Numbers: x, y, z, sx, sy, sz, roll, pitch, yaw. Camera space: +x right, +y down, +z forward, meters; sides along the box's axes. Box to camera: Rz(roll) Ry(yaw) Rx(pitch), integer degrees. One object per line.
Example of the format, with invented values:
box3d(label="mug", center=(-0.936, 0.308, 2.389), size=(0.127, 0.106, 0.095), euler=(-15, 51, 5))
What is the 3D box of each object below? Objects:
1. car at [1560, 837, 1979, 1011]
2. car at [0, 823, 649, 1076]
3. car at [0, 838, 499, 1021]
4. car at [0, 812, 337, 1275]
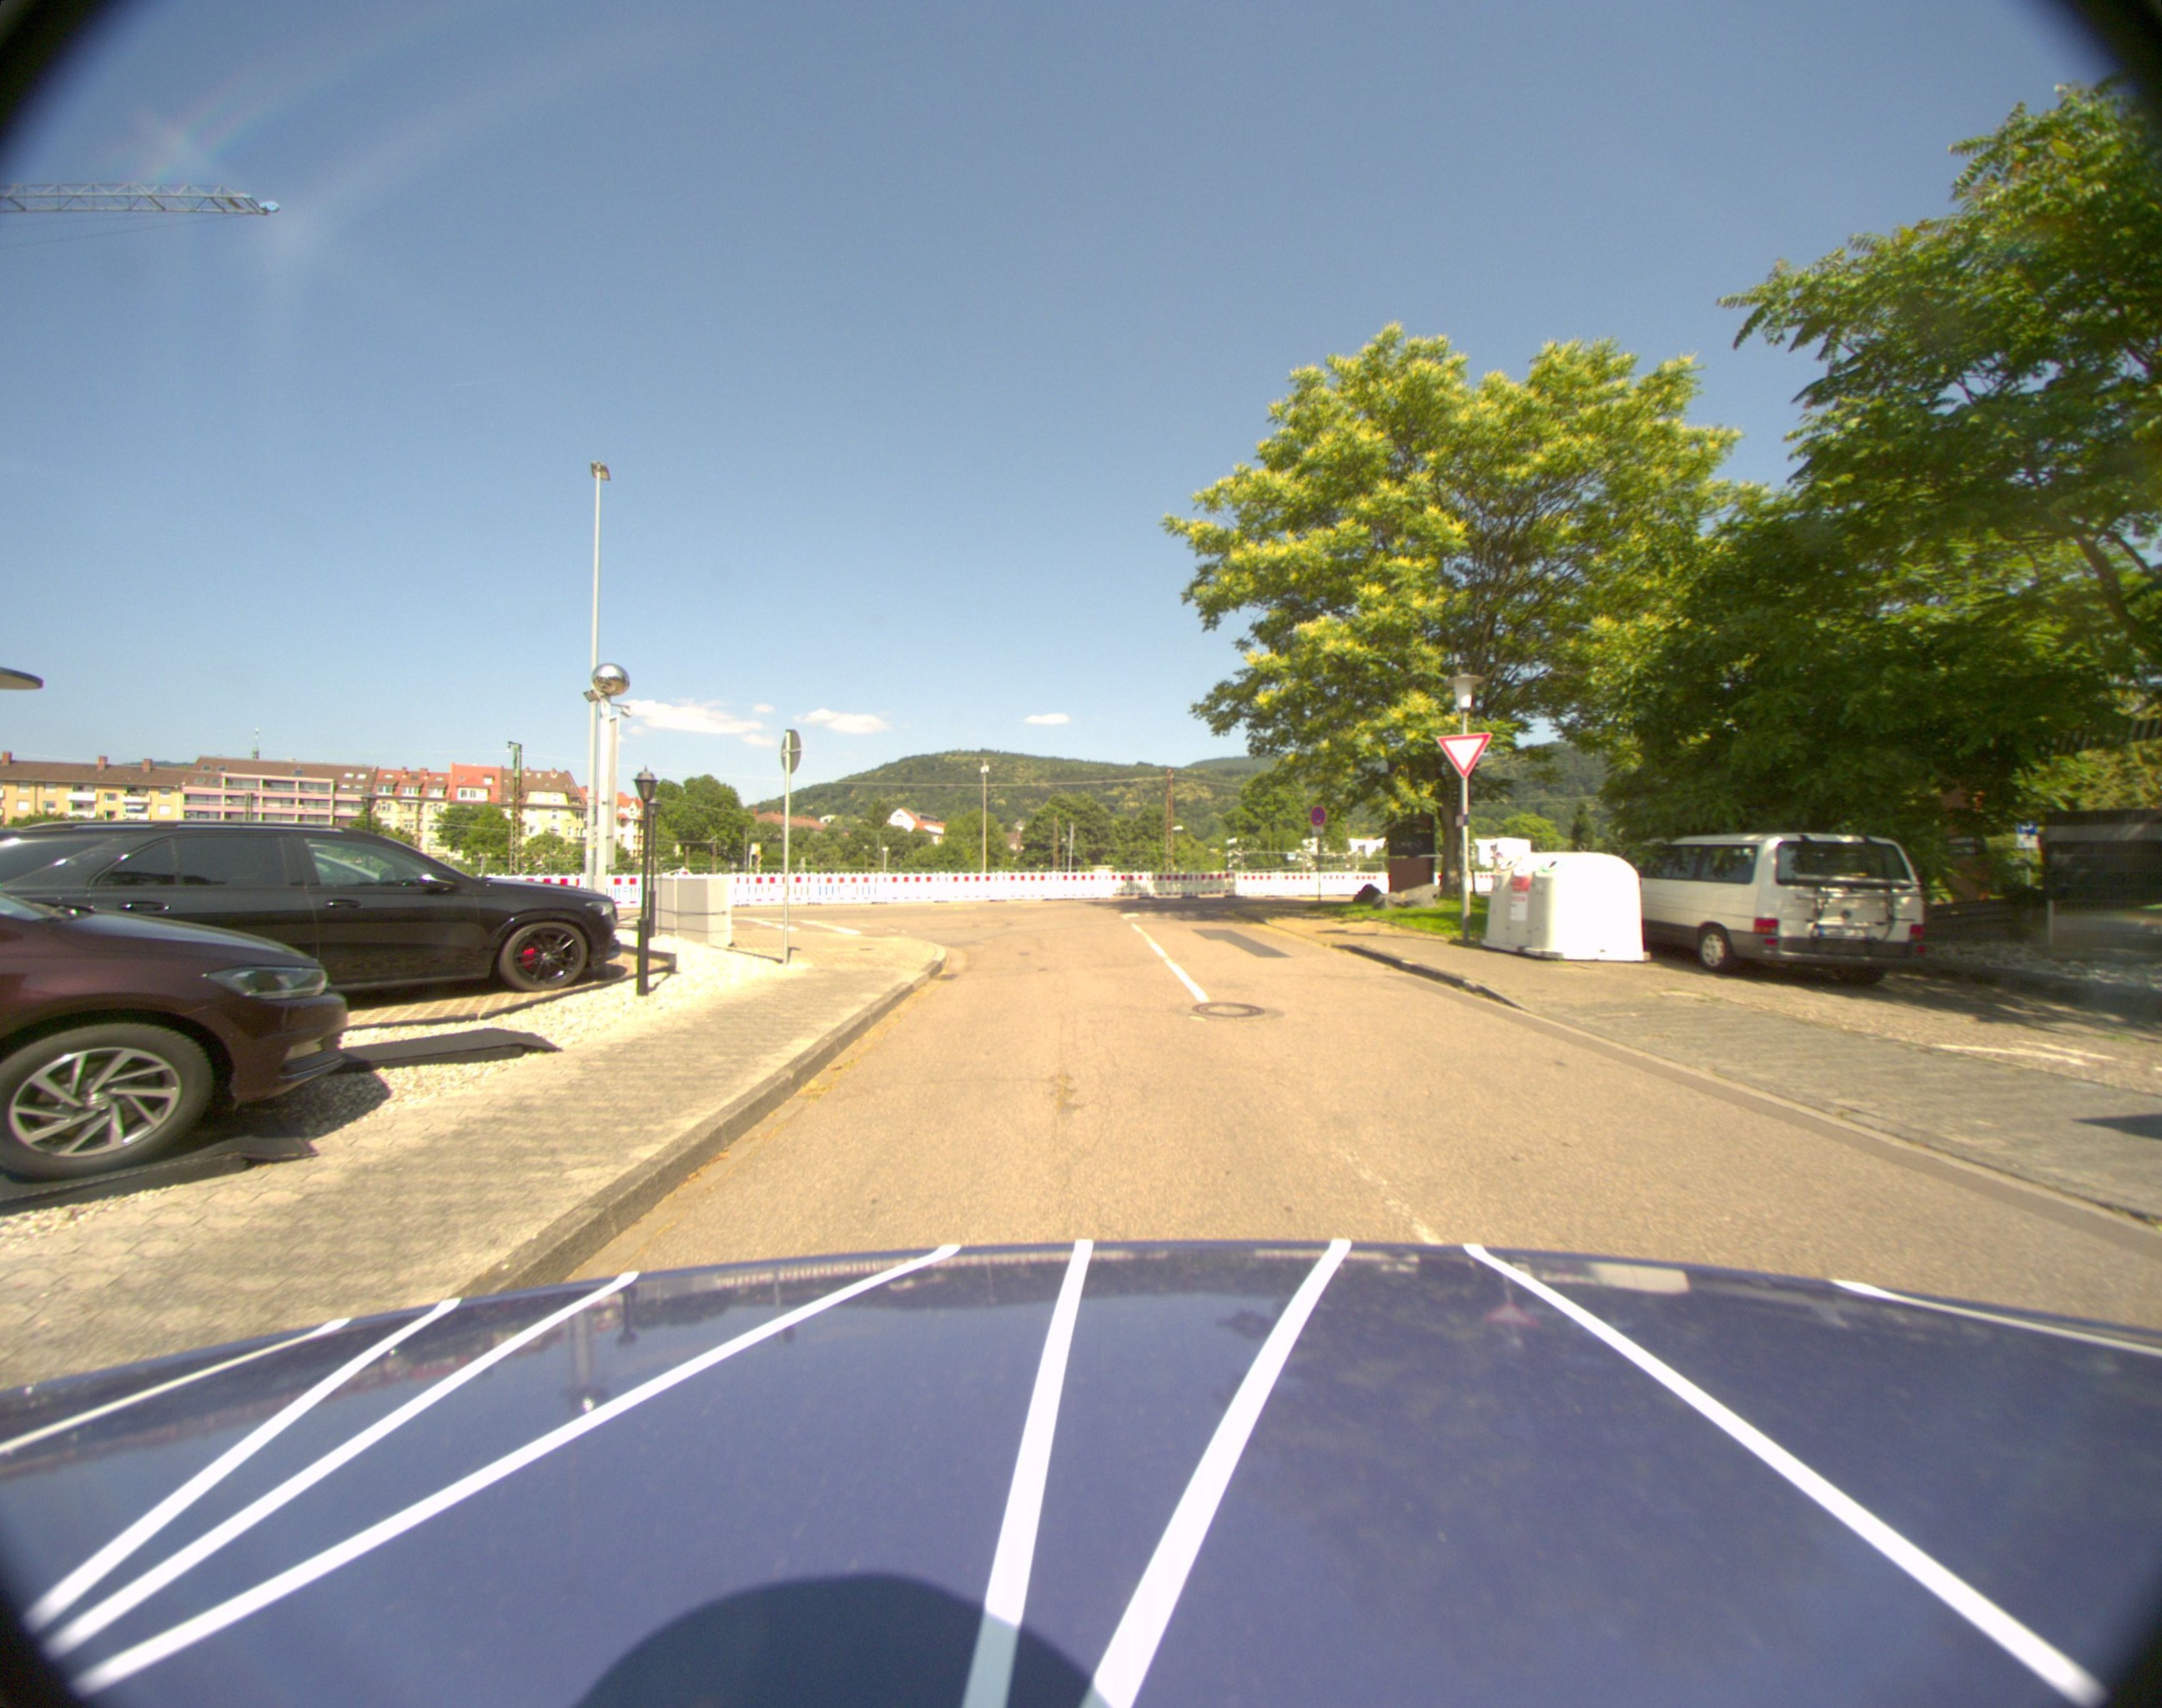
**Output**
box3d(label="car", center=(9.472, 0.744, 11.273), size=(1.997, 1.920, 5.103), euler=(2, 1, 8))
box3d(label="car", center=(-7.196, 0.680, 7.358), size=(2.011, 1.768, 4.828), euler=(0, 0, 38))
box3d(label="car", center=(-10.103, 0.702, 8.888), size=(2.012, 1.682, 4.827), euler=(0, 0, 26))
box3d(label="car", center=(-5.588, 0.710, 2.445), size=(1.847, 1.772, 4.300), euler=(1, 0, 35))
